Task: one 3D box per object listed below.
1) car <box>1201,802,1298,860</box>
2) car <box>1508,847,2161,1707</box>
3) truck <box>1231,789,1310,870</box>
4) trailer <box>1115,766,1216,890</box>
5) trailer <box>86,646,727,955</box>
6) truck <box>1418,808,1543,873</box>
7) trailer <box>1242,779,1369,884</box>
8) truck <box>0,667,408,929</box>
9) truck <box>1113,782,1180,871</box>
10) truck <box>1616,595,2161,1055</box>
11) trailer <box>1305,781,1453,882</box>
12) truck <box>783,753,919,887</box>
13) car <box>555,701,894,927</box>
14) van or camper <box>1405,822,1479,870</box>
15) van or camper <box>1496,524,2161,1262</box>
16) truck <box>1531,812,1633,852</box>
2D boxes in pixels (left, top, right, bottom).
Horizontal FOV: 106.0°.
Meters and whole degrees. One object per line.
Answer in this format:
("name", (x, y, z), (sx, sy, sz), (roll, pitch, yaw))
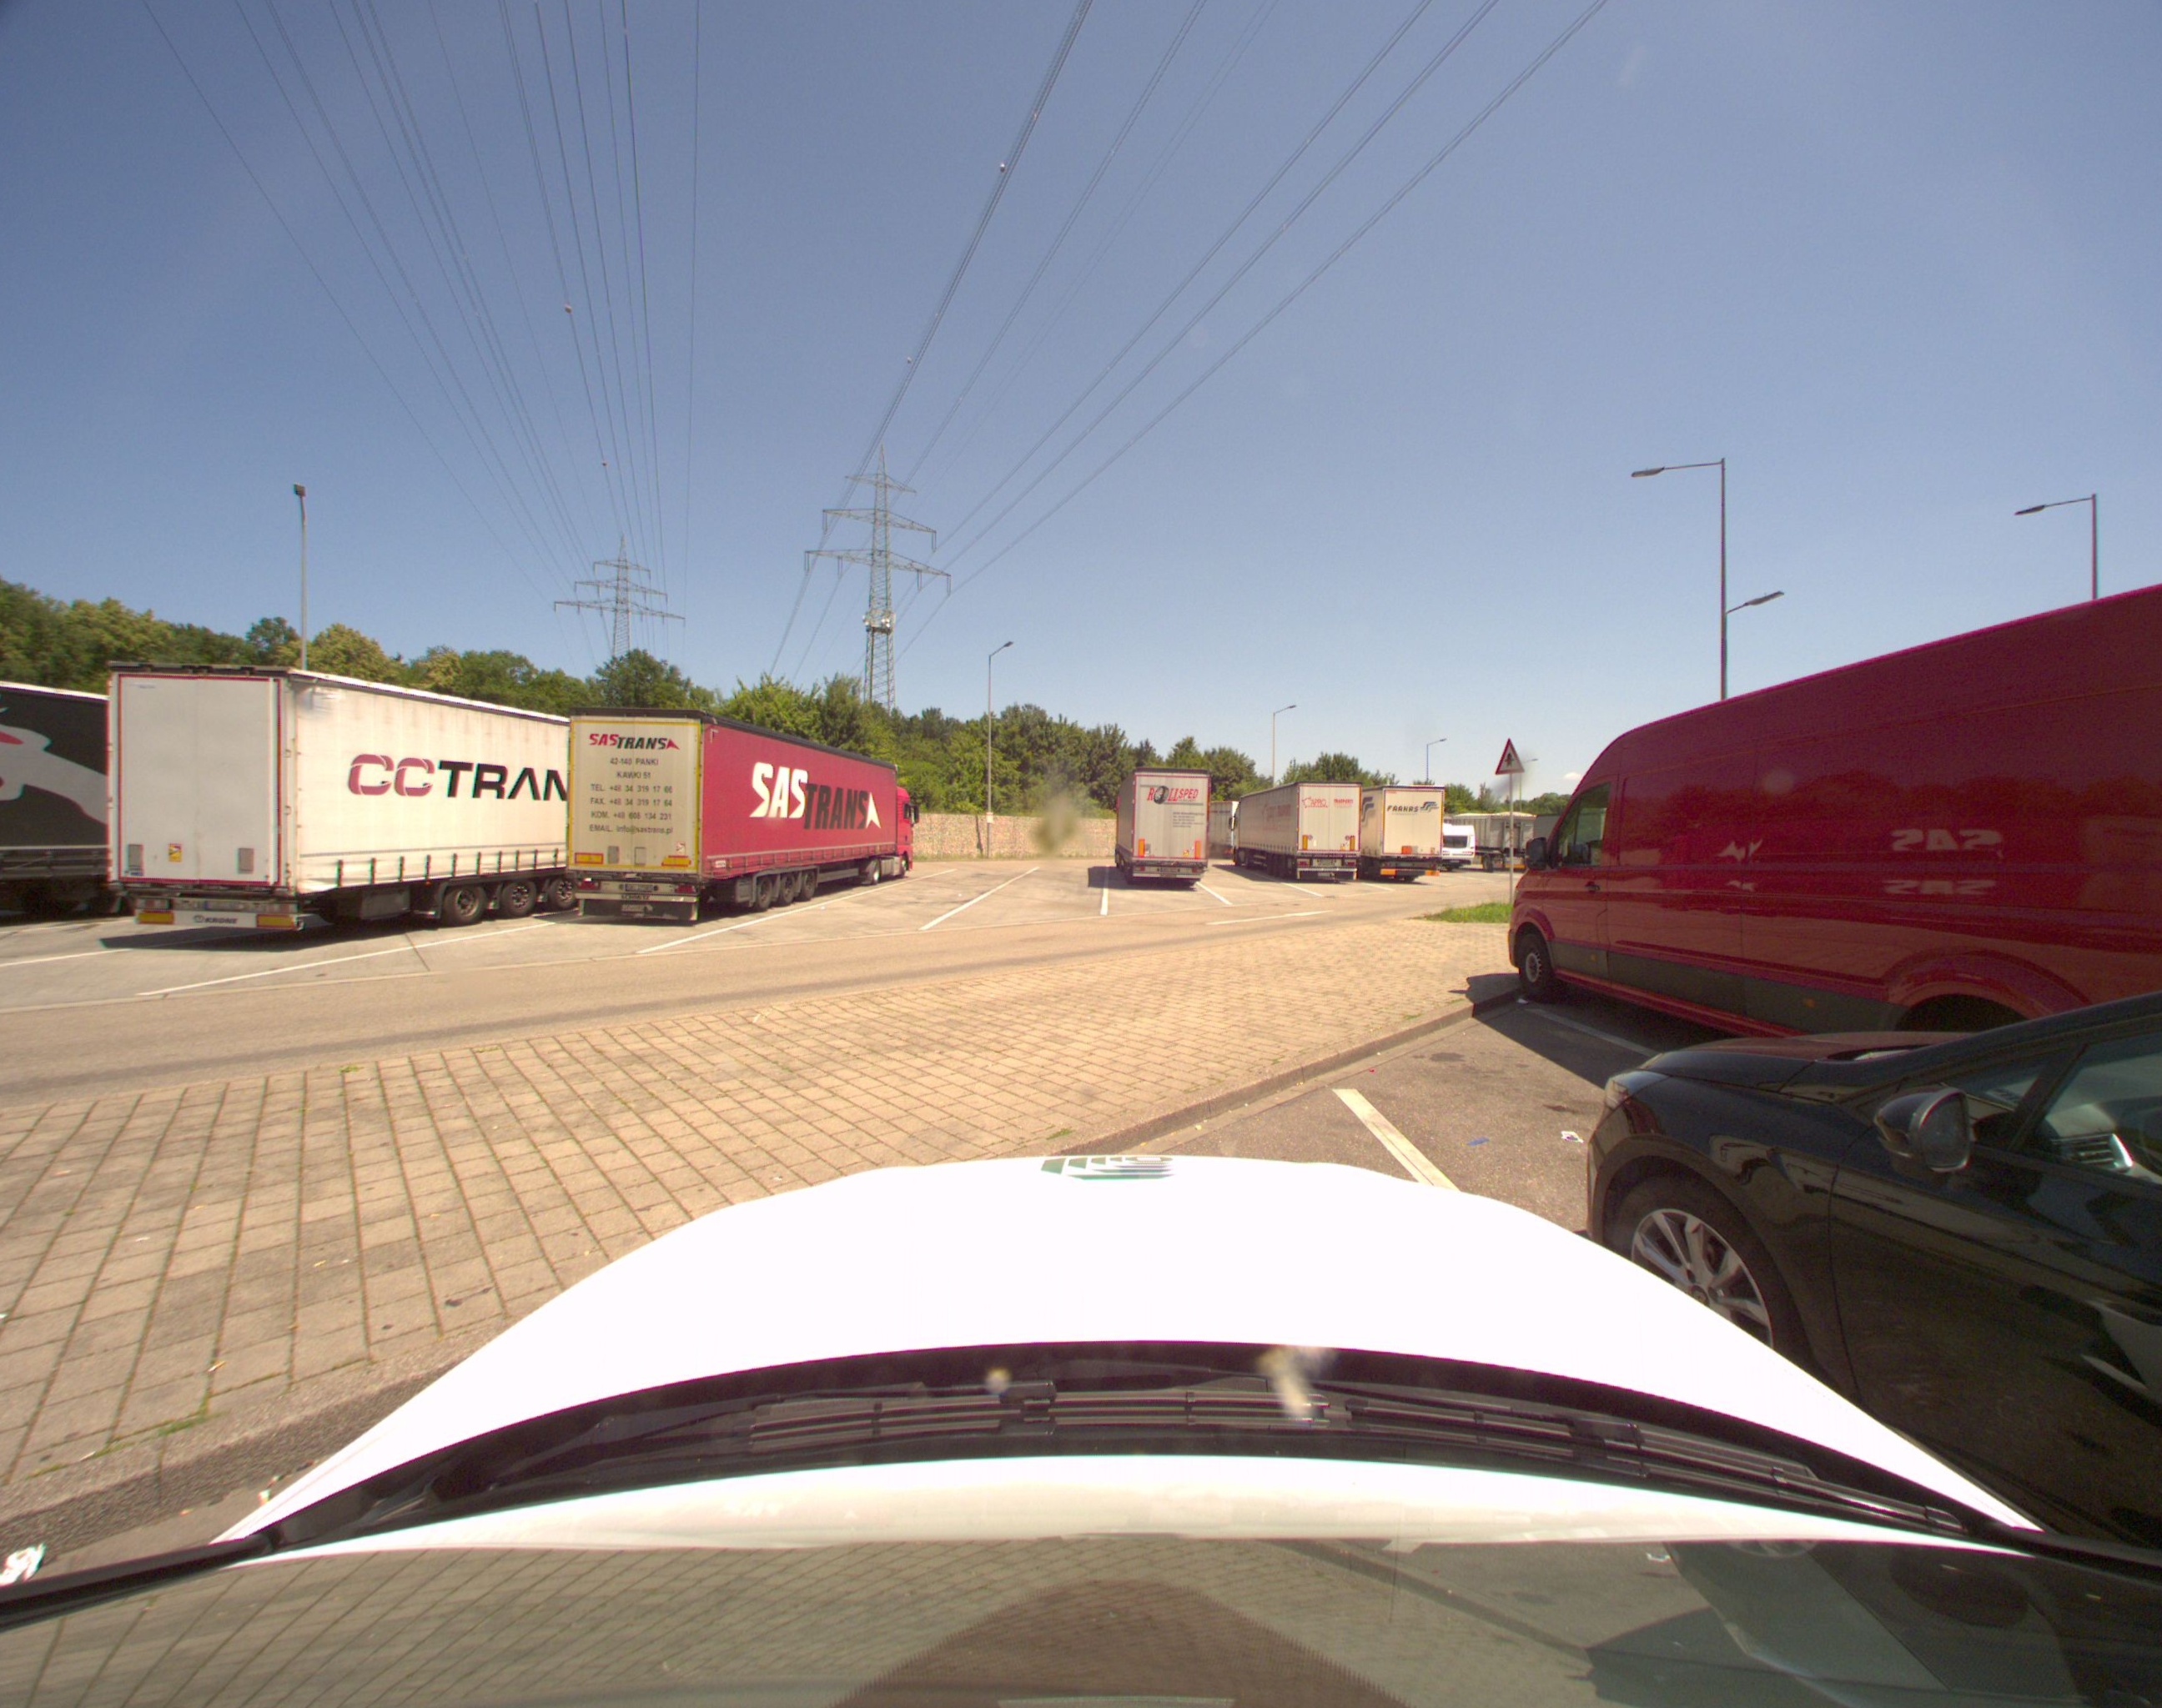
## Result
("car", (12.637, -1.687, 60.624), (8.516, 4.043, 2.656), (-1, 3, -44))
("car", (2.457, 0.751, 1.118), (1.612, 1.483, 3.762), (-1, 1, -4))
("truck", (10.184, -1.370, 44.511), (2.856, 4.037, 6.960), (0, 2, 2))
("trailer", (3.049, -1.107, 33.706), (2.857, 4.037, 14.244), (0, 2, 1))
("trailer", (-12.160, -0.980, 17.767), (2.803, 4.266, 12.947), (0, 2, 2))
("truck", (24.304, -0.958, 50.476), (2.478, 3.568, 11.429), (1, 2, 2))
("trailer", (9.958, -1.106, 37.878), (2.856, 4.037, 12.445), (1, 2, 2))
("truck", (-18.615, -1.027, 16.248), (2.803, 4.190, 8.793), (0, 2, 2))
("truck", (3.142, -1.396, 40.794), (2.857, 4.037, 7.029), (0, 2, 1))
("truck", (7.941, -0.214, 7.042), (2.455, 2.792, 6.978), (0, 1, 4))
("trailer", (13.645, -1.125, 38.854), (2.856, 4.037, 12.445), (1, 2, 2))
("truck", (-7.746, -1.157, 28.327), (2.686, 4.112, 6.243), (1, 2, 2))
("car", (-8.046, -0.938, 21.410), (2.686, 4.112, 12.943), (1, 2, 2))
("van or camper", (20.595, -0.467, 46.717), (2.096, 2.561, 5.376), (-1, 1, 3))
("van or camper", (5.141, 0.097, 5.469), (1.986, 2.654, 6.490), (-1, 1, 6))
("truck", (38.039, -1.643, 62.354), (2.117, 2.820, 9.783), (-1, 1, 2))
